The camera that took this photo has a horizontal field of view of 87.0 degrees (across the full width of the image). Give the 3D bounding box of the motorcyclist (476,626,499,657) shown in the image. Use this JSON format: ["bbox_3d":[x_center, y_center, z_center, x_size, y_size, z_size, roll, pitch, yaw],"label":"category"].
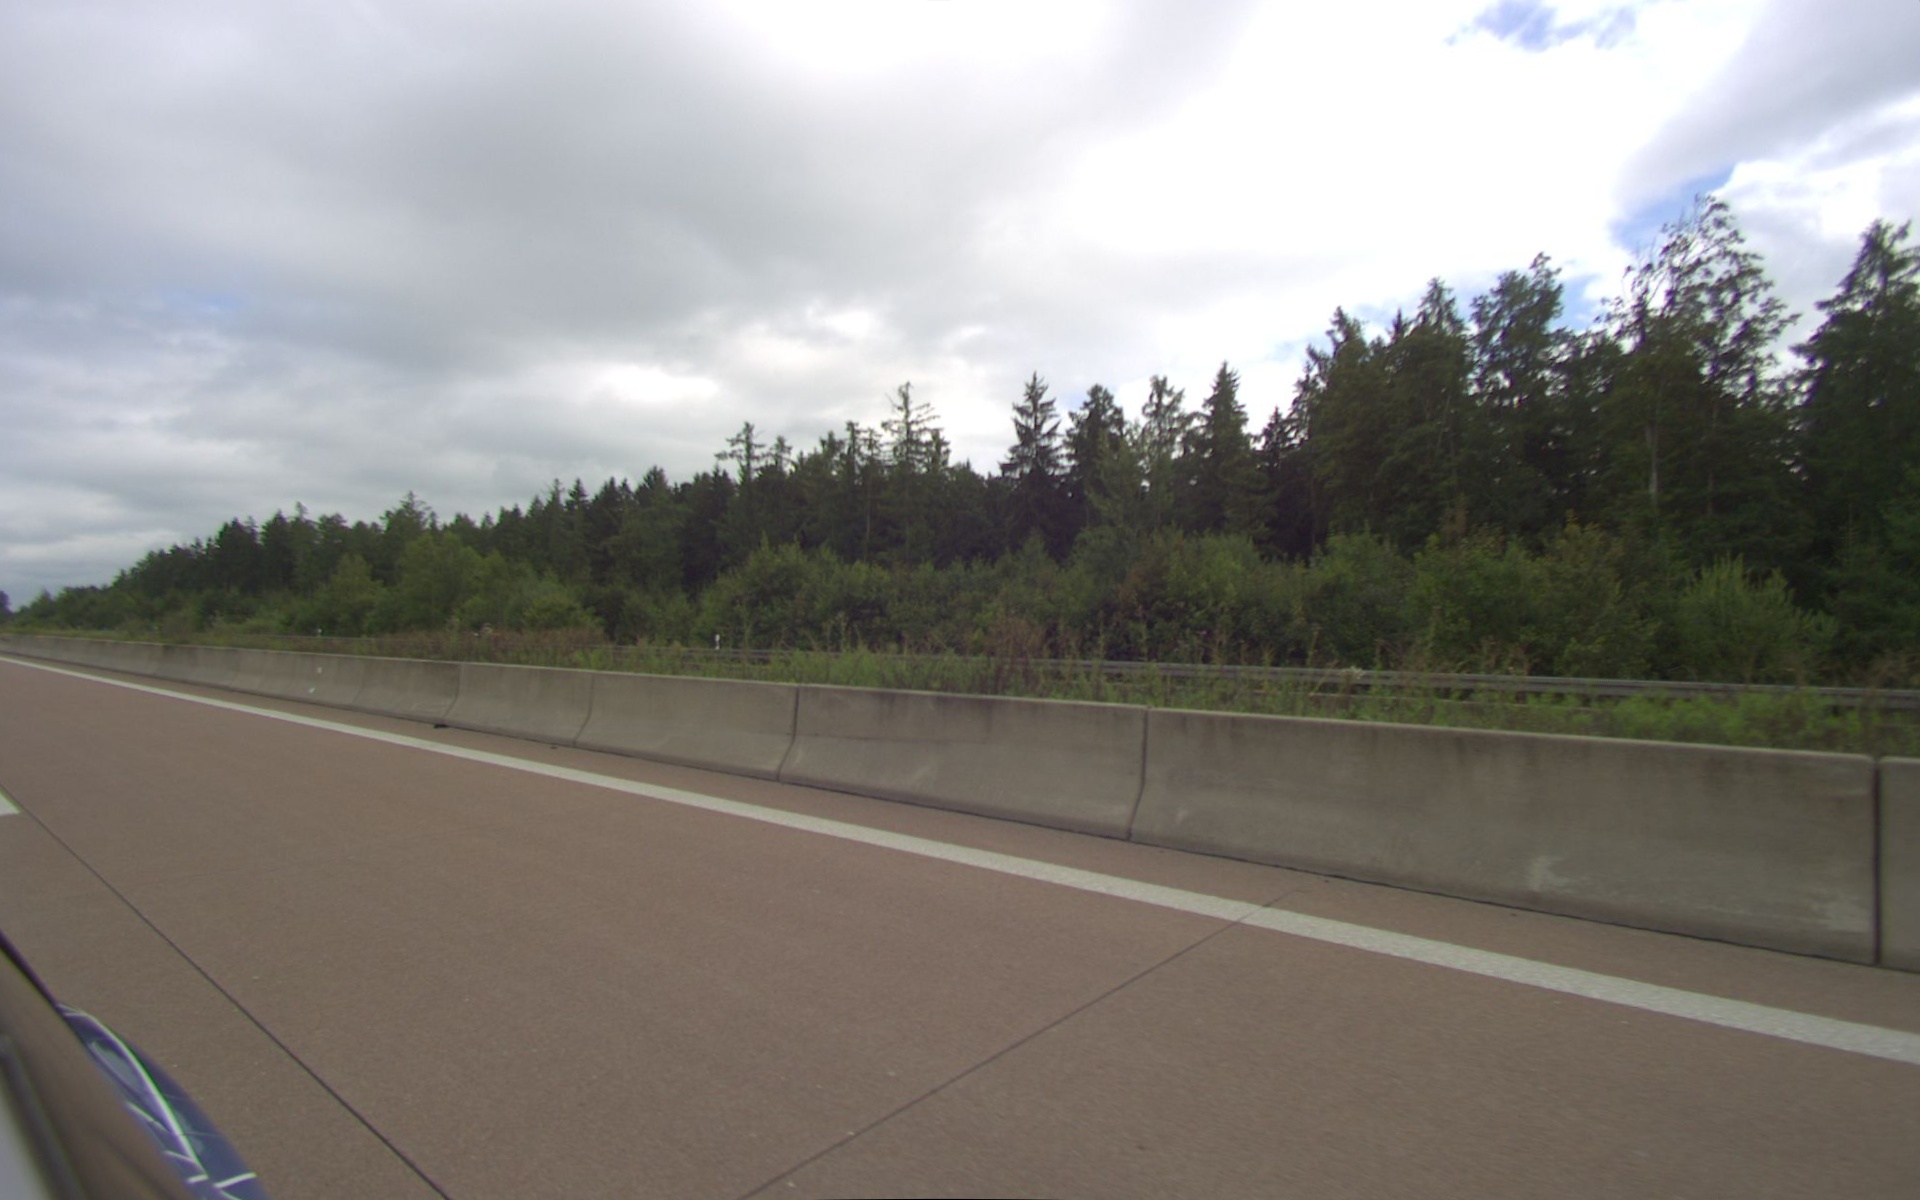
[{"bbox_3d":[-20.359,1.786,43.573,0.801,1.293,0.588,-1,0,41],"label":"motorcyclist"}]

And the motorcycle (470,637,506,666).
[{"bbox_3d":[-20.314,2.190,43.544,2.153,1.164,0.594,-1,0,41],"label":"motorcycle"}]
